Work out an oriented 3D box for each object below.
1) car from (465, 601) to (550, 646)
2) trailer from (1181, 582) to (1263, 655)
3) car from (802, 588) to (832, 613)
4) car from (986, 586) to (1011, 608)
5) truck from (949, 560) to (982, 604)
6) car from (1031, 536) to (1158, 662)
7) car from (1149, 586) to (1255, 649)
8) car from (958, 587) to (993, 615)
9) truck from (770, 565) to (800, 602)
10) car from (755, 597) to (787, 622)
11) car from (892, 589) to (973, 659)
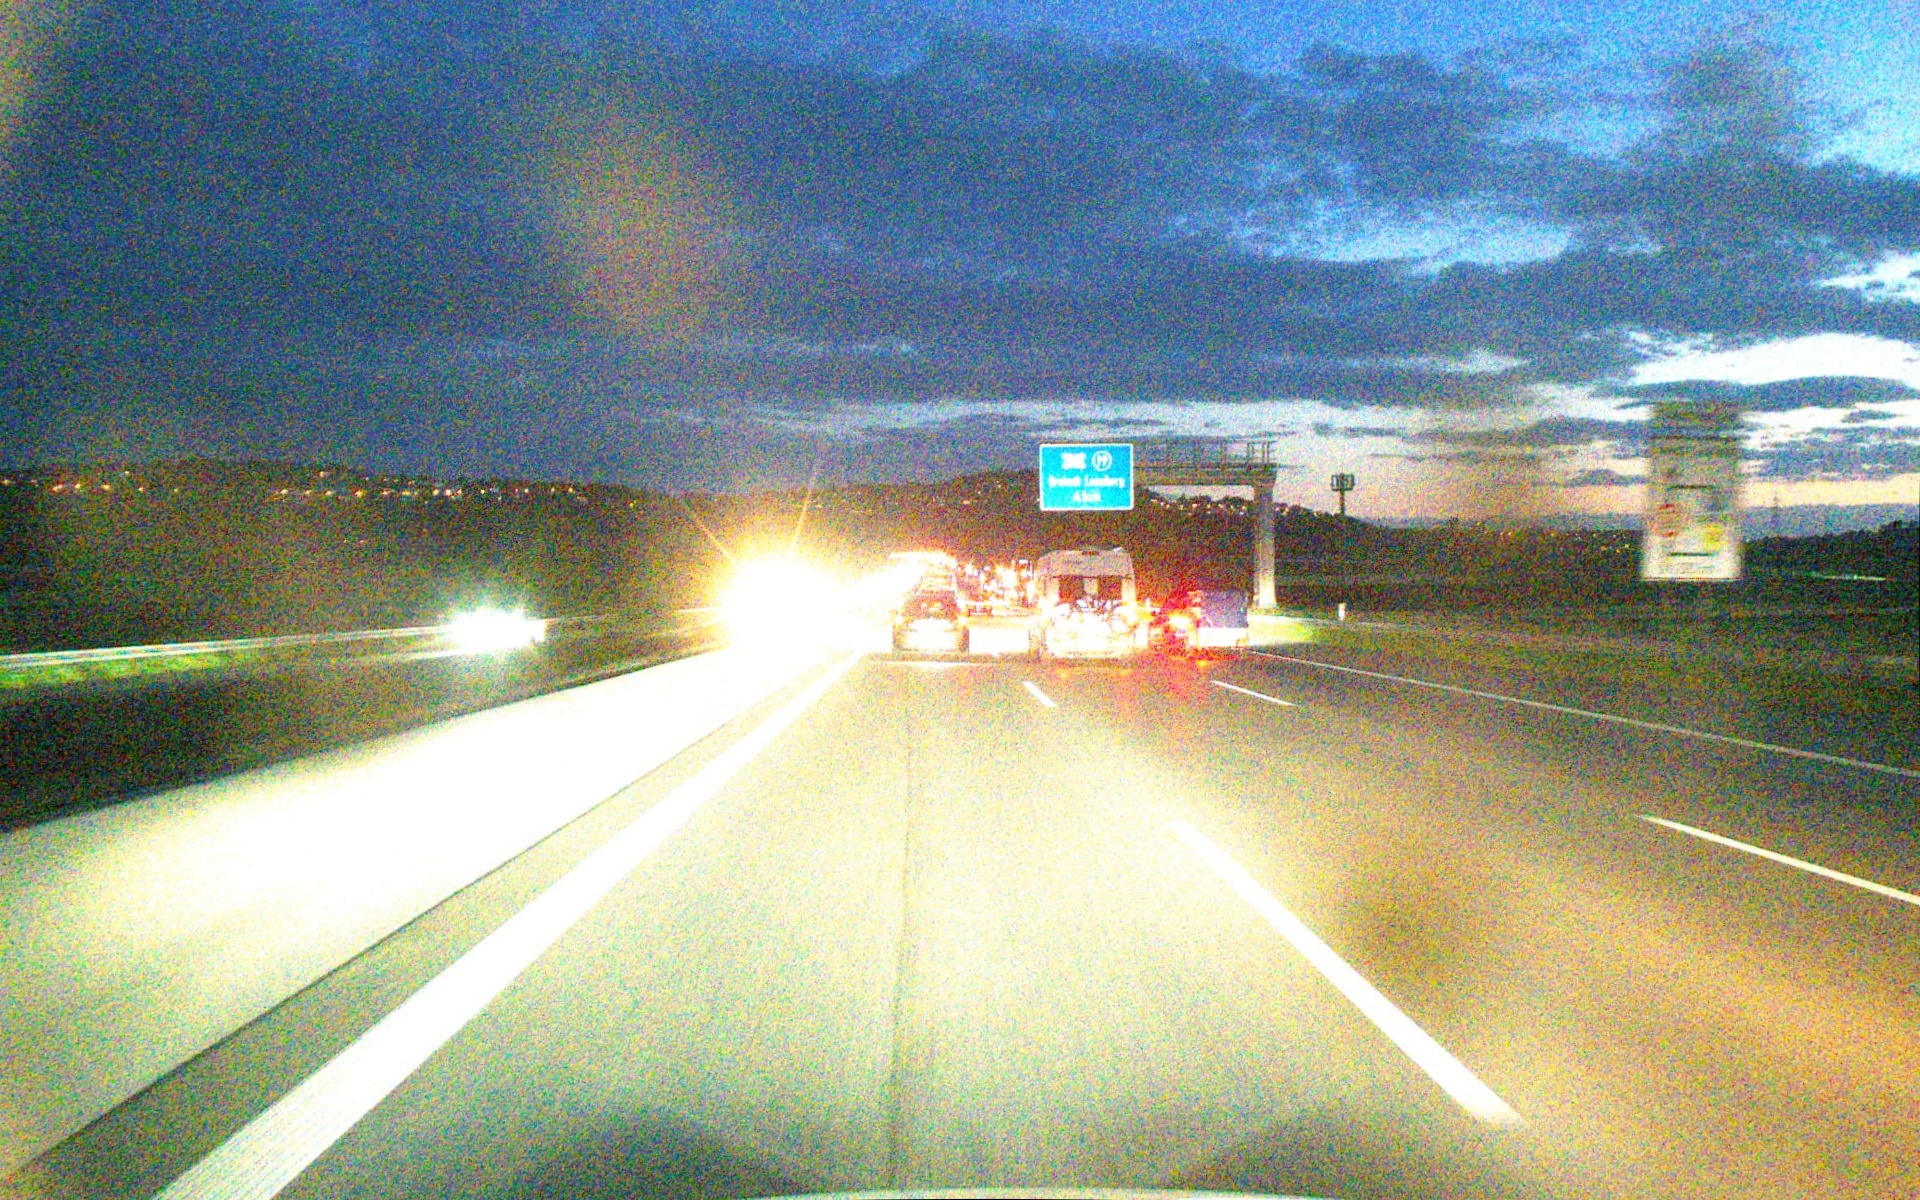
[{"bbox_3d":[-17.243,0.869,63.277,1.953,1.504,5.043,-3,0,-2],"label":"car"},{"bbox_3d":[6.403,0.432,40.688,1.534,1.723,2.820,0,0,-1],"label":"trailer"},{"bbox_3d":[-9.831,0.037,113.983,1.775,1.671,4.157,-1,0,-1],"label":"car"},{"bbox_3d":[3.839,-0.353,164.796,2.303,2.112,4.722,-1,1,-1],"label":"car"},{"bbox_3d":[0.514,-1.671,156.387,2.725,4.024,7.989,-1,0,-2],"label":"truck"},{"bbox_3d":[2.909,-0.069,37.115,2.303,2.579,5.700,-1,1,-1],"label":"car"},{"bbox_3d":[6.414,0.419,44.324,2.119,1.591,4.722,0,0,-1],"label":"car"},{"bbox_3d":[1.070,0.055,116.340,2.303,1.947,4.722,-1,0,-1],"label":"car"},{"bbox_3d":[-19.191,-1.778,182.113,2.725,4.024,7.989,-1,0,-2],"label":"truck"},{"bbox_3d":[-13.216,0.674,115.628,1.775,1.671,4.157,-1,0,-1],"label":"car"},{"bbox_3d":[-0.616,0.511,38.125,1.757,1.494,3.772,0,1,-1],"label":"car"}]
